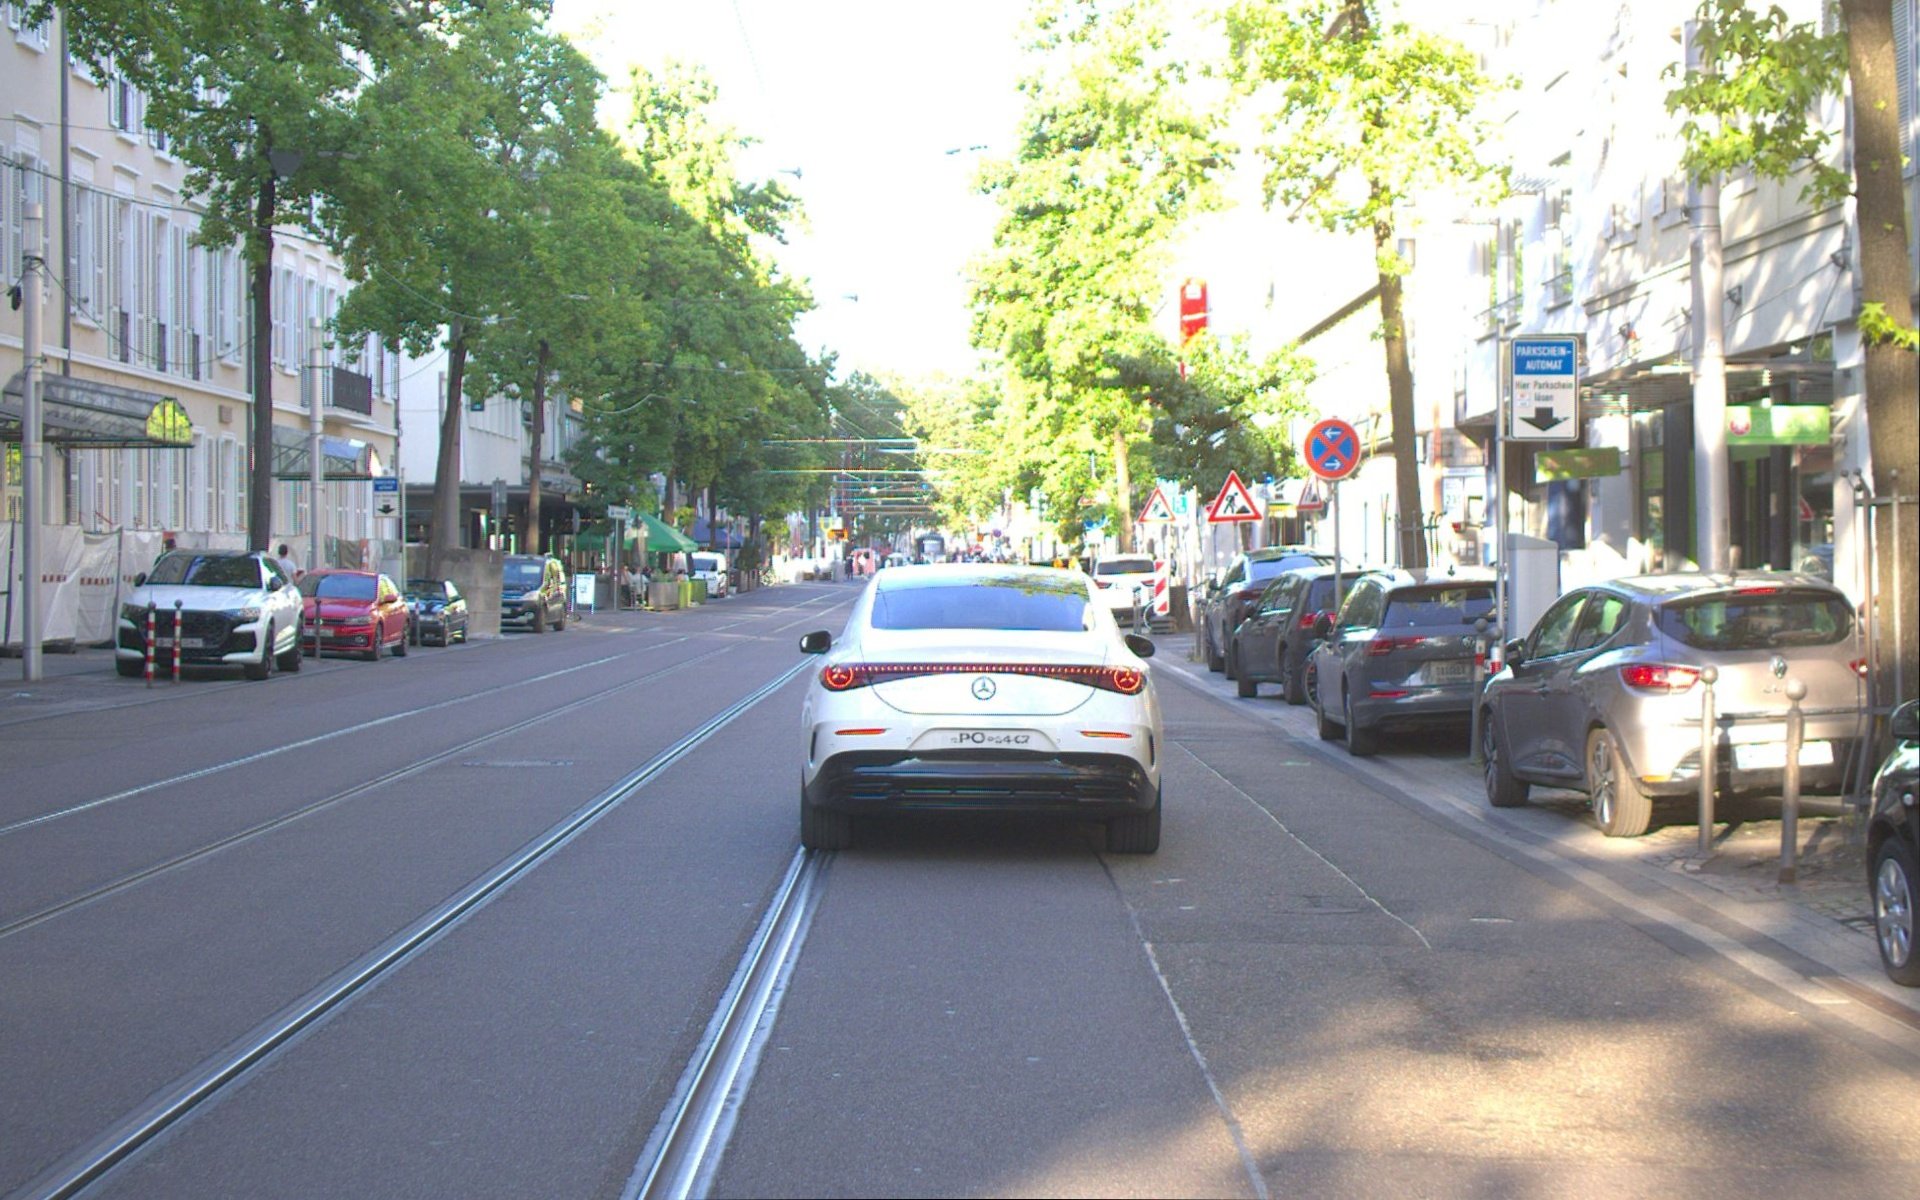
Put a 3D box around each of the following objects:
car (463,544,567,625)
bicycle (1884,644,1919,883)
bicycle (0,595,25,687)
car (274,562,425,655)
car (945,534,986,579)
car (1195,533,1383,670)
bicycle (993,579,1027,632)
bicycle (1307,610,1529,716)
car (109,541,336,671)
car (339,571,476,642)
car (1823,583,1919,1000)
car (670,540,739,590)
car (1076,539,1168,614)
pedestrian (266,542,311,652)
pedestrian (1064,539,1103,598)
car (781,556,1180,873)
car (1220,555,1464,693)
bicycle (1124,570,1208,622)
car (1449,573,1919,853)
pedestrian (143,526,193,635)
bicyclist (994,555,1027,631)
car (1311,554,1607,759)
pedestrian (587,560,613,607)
[{"bbox_3d":[-10.184,-0.375,78.859,1.553,1.789,3.166,-1,1,8],"label":"car"},{"bbox_3d":[5.249,0.722,15.675,1.855,1.070,0.712,-2,1,-9],"label":"bicycle"},{"bbox_3d":[-11.509,0.474,40.648,0.593,1.047,2.009,-1,1,-7],"label":"bicycle"},{"bbox_3d":[-10.114,0.120,57.204,1.688,1.494,4.234,0,1,1],"label":"car"},{"bbox_3d":[0.294,-2.496,198.817,1.993,2.533,4.001,0,0,-5],"label":"car"},{"bbox_3d":[4.313,-0.020,45.803,1.993,1.707,4.866,-1,1,0],"label":"car"},{"bbox_3d":[1.143,0.122,78.110,0.740,1.184,2.160,-1,0,1],"label":"bicycle"},{"bbox_3d":[4.275,0.590,32.118,2.038,0.961,0.282,-1,1,5],"label":"bicycle"},{"bbox_3d":[-10.044,0.060,47.203,1.962,1.686,5.013,0,1,1],"label":"car"},{"bbox_3d":[-10.508,0.109,65.674,1.993,1.288,4.000,0,1,0],"label":"car"},{"bbox_3d":[4.293,0.654,11.301,1.800,1.453,3.655,-2,0,-3],"label":"car"},{"bbox_3d":[-10.482,-1.465,141.529,1.994,2.007,3.999,-1,1,8],"label":"car"},{"bbox_3d":[3.875,-0.586,82.796,1.993,1.722,4.241,-1,1,0],"label":"car"},{"bbox_3d":[-12.291,-0.066,62.937,0.707,1.997,0.675,-1,1,-3],"label":"pedestrian"},{"bbox_3d":[3.691,-0.942,102.800,0.919,1.768,0.874,-1,1,-14],"label":"pedestrian"},{"bbox_3d":[0.115,0.527,18.422,1.868,1.464,4.042,1,1,1],"label":"car"},{"bbox_3d":[4.173,0.229,38.168,1.837,1.431,4.001,-1,1,-6],"label":"car"},{"bbox_3d":[4.287,-0.082,71.622,1.723,1.058,0.581,-1,1,3],"label":"bicycle"},{"bbox_3d":[4.255,0.582,20.336,1.814,1.481,4.001,0,0,-5],"label":"car"},{"bbox_3d":[-13.278,-0.328,57.627,0.707,1.800,0.676,-1,1,-5],"label":"pedestrian"},{"bbox_3d":[1.144,-0.164,78.016,0.724,1.697,0.811,-1,0,1],"label":"bicyclist"},{"bbox_3d":[3.970,0.400,27.979,1.871,1.448,4.106,-3,1,2],"label":"car"},{"bbox_3d":[-11.373,-0.521,108.545,0.569,1.459,0.649,0,1,19],"label":"pedestrian"}]
